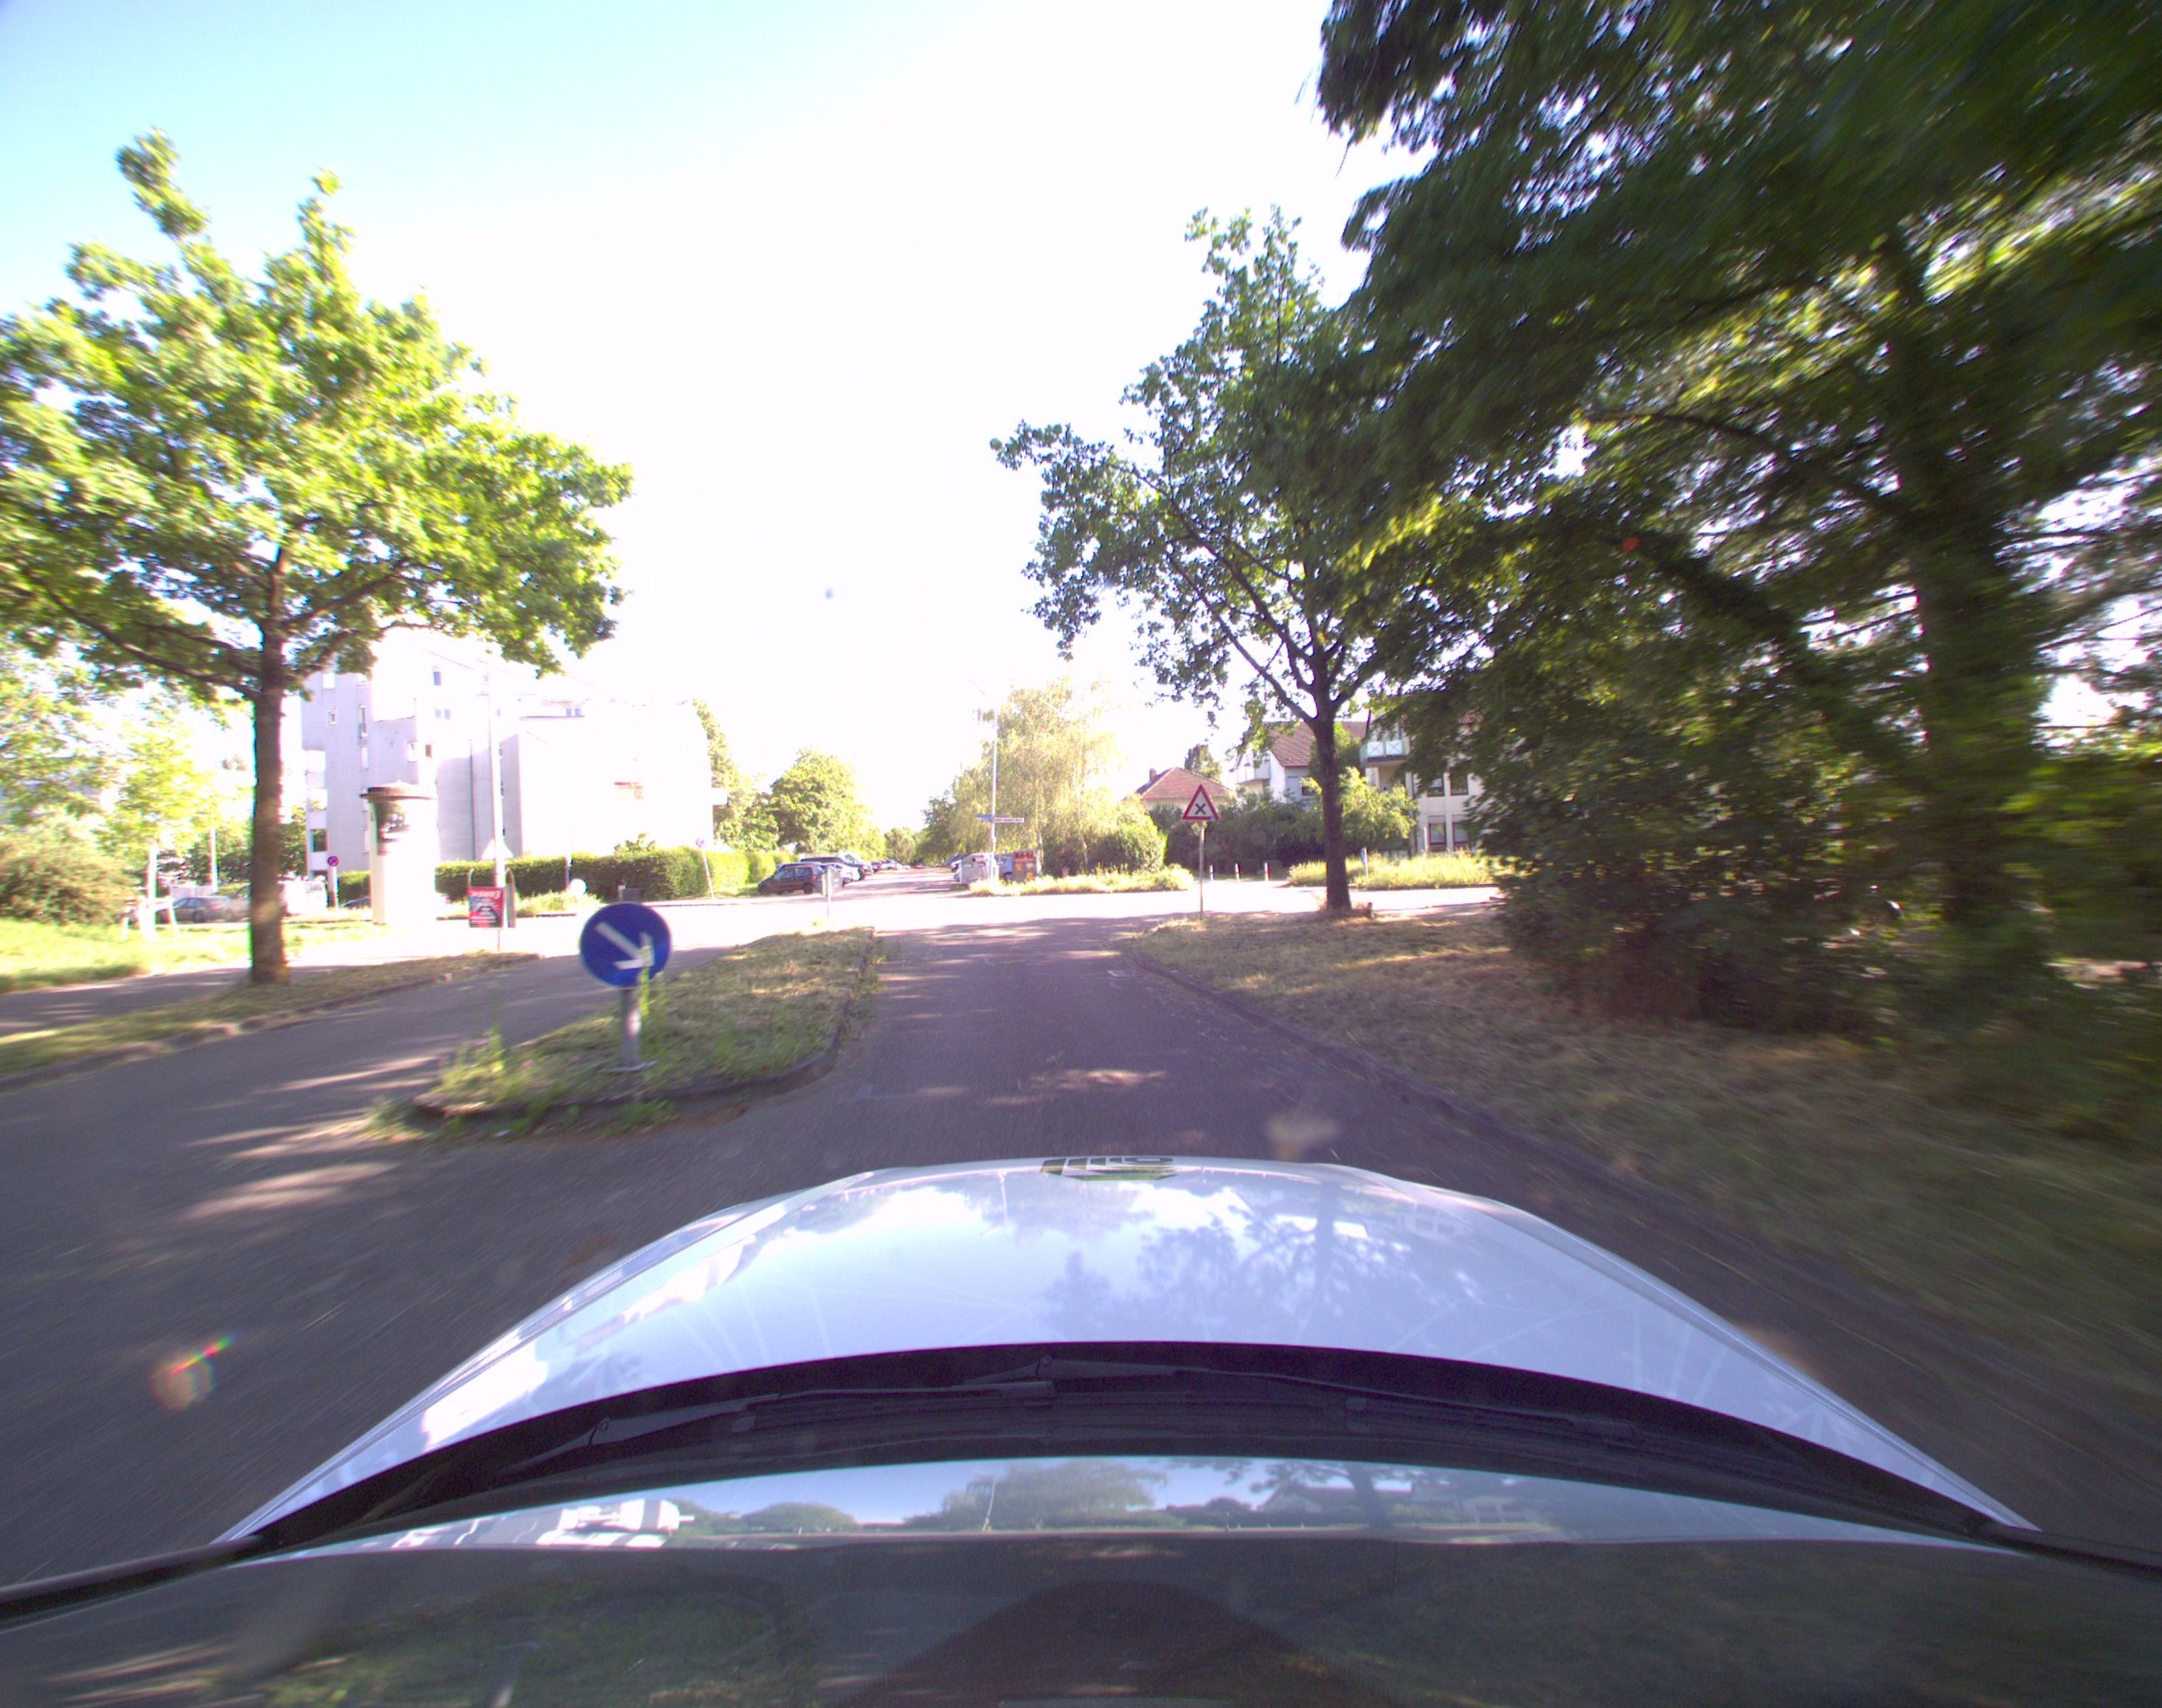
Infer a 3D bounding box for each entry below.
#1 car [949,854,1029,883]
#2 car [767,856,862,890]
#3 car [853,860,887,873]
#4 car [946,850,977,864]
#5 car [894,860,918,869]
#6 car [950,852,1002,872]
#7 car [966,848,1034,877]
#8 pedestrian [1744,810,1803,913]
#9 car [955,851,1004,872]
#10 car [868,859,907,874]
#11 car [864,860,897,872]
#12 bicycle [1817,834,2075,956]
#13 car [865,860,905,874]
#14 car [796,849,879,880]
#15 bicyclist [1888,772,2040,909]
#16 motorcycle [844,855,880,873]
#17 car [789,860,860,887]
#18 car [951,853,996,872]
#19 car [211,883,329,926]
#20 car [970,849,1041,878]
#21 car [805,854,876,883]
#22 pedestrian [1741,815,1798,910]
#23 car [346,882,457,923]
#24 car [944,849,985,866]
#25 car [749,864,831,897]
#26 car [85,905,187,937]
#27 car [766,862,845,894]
[{"bbox_3d":[-4.925,0.757,44.057,4.036,1.438,1.636,-2,0,3],"label":"car"},{"bbox_3d":[-15.876,1.137,48.673,4.984,1.654,1.781,-4,1,-5],"label":"car"},{"bbox_3d":[-26.436,1.544,101.945,3.941,1.334,1.840,-3,0,-11],"label":"car"},{"bbox_3d":[-16.129,0.372,110.268,3.983,1.708,1.793,-2,0,-7],"label":"car"},{"bbox_3d":[-28.862,1.760,134.338,3.646,1.212,1.840,-3,0,-11],"label":"car"},{"bbox_3d":[-8.348,0.655,65.032,3.983,1.401,1.793,-2,0,-7],"label":"car"},{"bbox_3d":[-5.221,0.517,52.523,4.113,1.706,1.781,-2,1,-17],"label":"car"},{"bbox_3d":[10.821,0.112,12.726,0.397,1.561,0.533,-3,-1,-31],"label":"pedestrian"},{"bbox_3d":[-8.476,0.633,68.298,3.983,1.585,1.793,-2,0,-7],"label":"car"},{"bbox_3d":[-21.009,1.362,88.369,3.941,1.334,1.840,-3,0,-11],"label":"car"},{"bbox_3d":[-25.931,1.522,105.404,3.941,1.334,1.840,-3,0,-11],"label":"car"},{"bbox_3d":[9.202,0.397,8.789,0.457,1.145,1.888,-3,0,-14],"label":"bicycle"},{"bbox_3d":[-20.602,1.357,85.677,3.941,1.334,1.840,-3,0,-11],"label":"car"},{"bbox_3d":[-19.971,0.826,67.144,6.261,2.147,2.401,-3,0,-12],"label":"car"},{"bbox_3d":[9.246,-0.138,8.555,0.637,1.347,0.834,-3,0,-14],"label":"bicyclist"},{"bbox_3d":[-21.371,1.003,79.470,3.190,1.596,0.920,-3,0,-9],"label":"motorcycle"},{"bbox_3d":[-16.474,1.244,52.563,4.147,1.454,1.612,-4,0,-13],"label":"car"},{"bbox_3d":[-9.733,0.788,73.960,3.983,1.585,1.793,-2,0,-7],"label":"car"},{"bbox_3d":[-42.211,2.607,42.420,4.902,1.912,2.007,-3,0,13],"label":"car"},{"bbox_3d":[-4.627,0.546,49.694,4.060,1.603,1.782,-2,1,-16],"label":"car"},{"bbox_3d":[-17.260,1.034,58.696,4.515,1.771,1.844,-3,0,-5],"label":"car"},{"bbox_3d":[11.362,0.137,13.446,0.395,1.520,0.536,-3,0,-10],"label":"pedestrian"},{"bbox_3d":[-32.478,2.314,38.970,4.037,1.643,1.889,-3,0,10],"label":"car"},{"bbox_3d":[-11.735,0.349,82.138,3.983,1.585,1.793,-2,0,-7],"label":"car"},{"bbox_3d":[-15.062,1.354,42.242,3.503,1.466,1.707,-2,1,6],"label":"car"},{"bbox_3d":[-52.253,3.698,45.063,4.328,1.488,1.924,-3,0,15],"label":"car"},{"bbox_3d":[-15.127,1.310,44.844,3.665,1.496,1.652,-4,1,3],"label":"car"}]
